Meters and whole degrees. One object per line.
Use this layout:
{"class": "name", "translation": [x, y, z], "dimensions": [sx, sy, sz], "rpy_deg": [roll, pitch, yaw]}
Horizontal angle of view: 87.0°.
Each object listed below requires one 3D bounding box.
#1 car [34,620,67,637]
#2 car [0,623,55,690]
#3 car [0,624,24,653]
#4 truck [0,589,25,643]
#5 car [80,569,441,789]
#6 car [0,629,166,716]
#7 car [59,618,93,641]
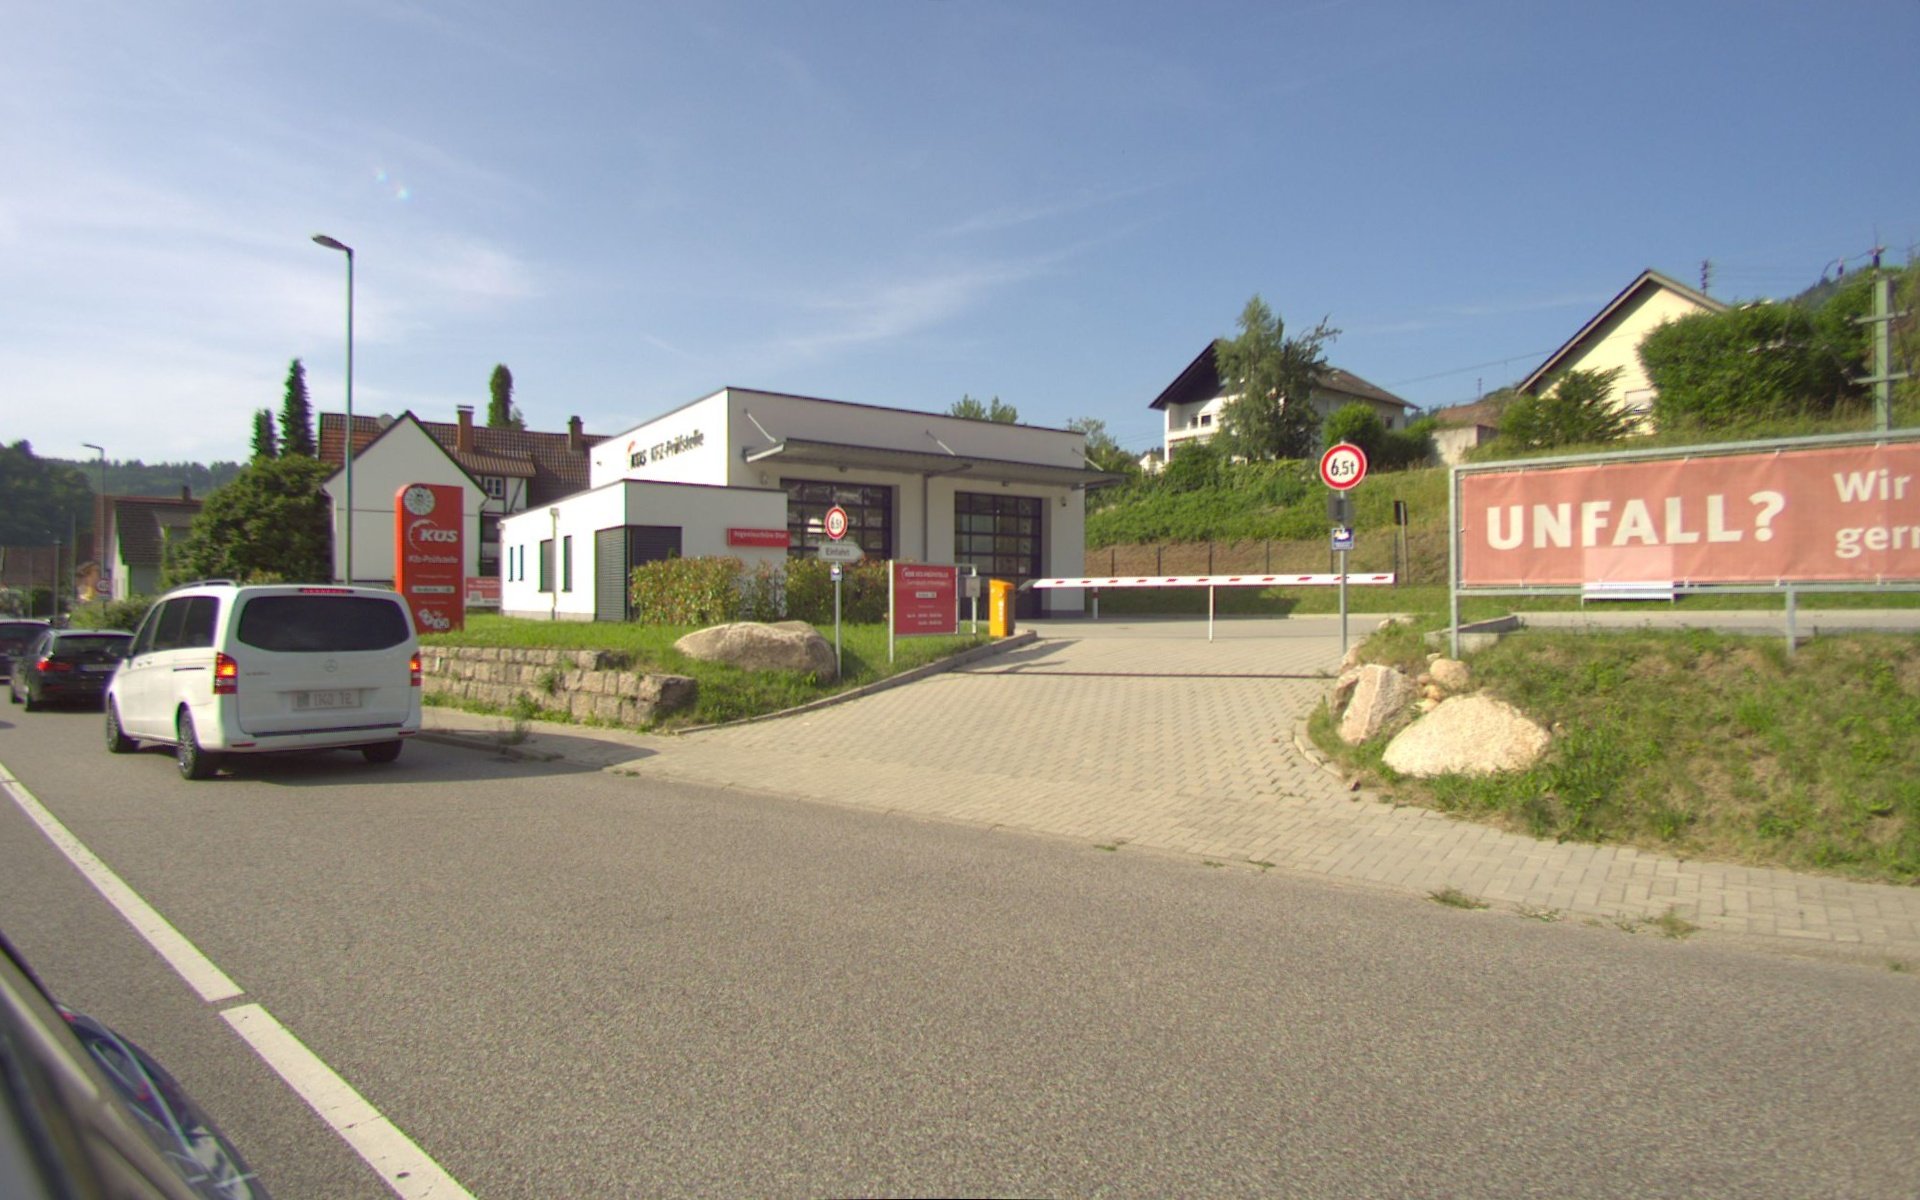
{"class": "car", "translation": [-87.095, 2.691, 96.876], "dimensions": [4.235, 1.530, 1.865], "rpy_deg": [-1, 1, 42]}
{"class": "car", "translation": [-25.003, 1.430, 26.335], "dimensions": [4.462, 1.630, 1.777], "rpy_deg": [-2, -3, 43]}
{"class": "car", "translation": [-53.830, 2.183, 56.721], "dimensions": [4.192, 1.515, 1.729], "rpy_deg": [-2, 1, 44]}
{"class": "truck", "translation": [-74.267, 1.259, 78.169], "dimensions": [2.548, 3.961, 11.311], "rpy_deg": [1, -1, -45]}
{"class": "car", "translation": [-7.888, 0.766, 11.171], "dimensions": [5.290, 1.902, 1.877], "rpy_deg": [-1, -3, 40]}
{"class": "car", "translation": [-16.172, 1.265, 18.586], "dimensions": [4.232, 1.409, 1.754], "rpy_deg": [-2, -3, 42]}
{"class": "car", "translation": [-69.394, 2.277, 79.500], "dimensions": [1.877, 1.677, 4.274], "rpy_deg": [-1, 0, -40]}
